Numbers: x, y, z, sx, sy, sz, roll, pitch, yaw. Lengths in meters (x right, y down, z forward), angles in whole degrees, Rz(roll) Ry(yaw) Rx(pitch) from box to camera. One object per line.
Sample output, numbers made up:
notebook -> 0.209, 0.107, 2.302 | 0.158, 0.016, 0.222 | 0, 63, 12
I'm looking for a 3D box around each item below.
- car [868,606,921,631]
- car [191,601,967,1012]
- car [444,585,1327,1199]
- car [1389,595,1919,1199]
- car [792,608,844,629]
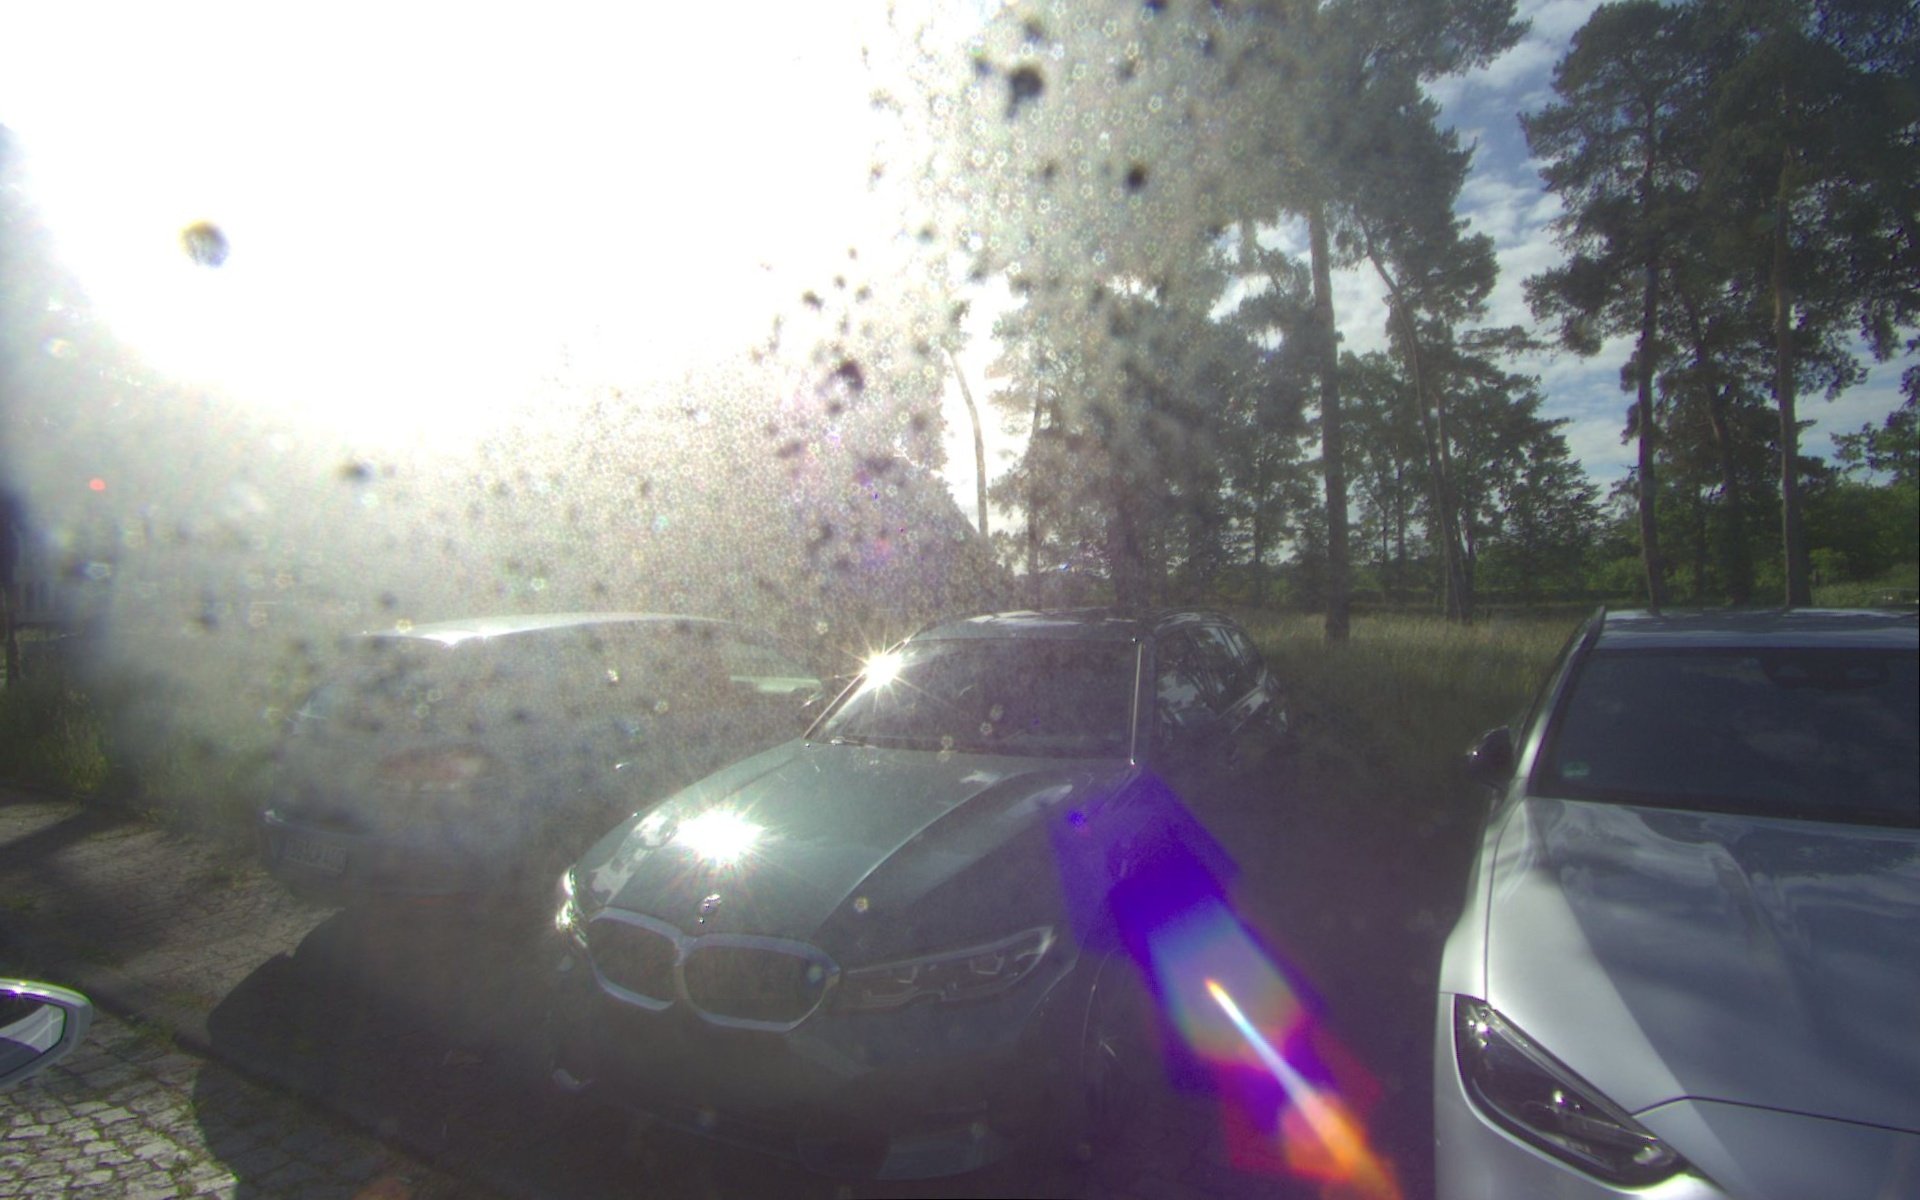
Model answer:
car -> -4.468, 1.246, 68.510 | 1.827, 1.620, 3.984 | 0, 0, 28
car -> -1.768, 0.785, 5.926 | 1.843, 1.480, 4.008 | -1, 0, 31
car -> 0.361, 0.731, 4.465 | 1.798, 1.537, 4.489 | -1, 1, 28
car -> 2.617, 0.753, 3.143 | 1.799, 1.421, 4.403 | -1, 1, 30
car -> -10.316, 1.314, 73.086 | 1.818, 1.483, 3.984 | 0, 0, 28
